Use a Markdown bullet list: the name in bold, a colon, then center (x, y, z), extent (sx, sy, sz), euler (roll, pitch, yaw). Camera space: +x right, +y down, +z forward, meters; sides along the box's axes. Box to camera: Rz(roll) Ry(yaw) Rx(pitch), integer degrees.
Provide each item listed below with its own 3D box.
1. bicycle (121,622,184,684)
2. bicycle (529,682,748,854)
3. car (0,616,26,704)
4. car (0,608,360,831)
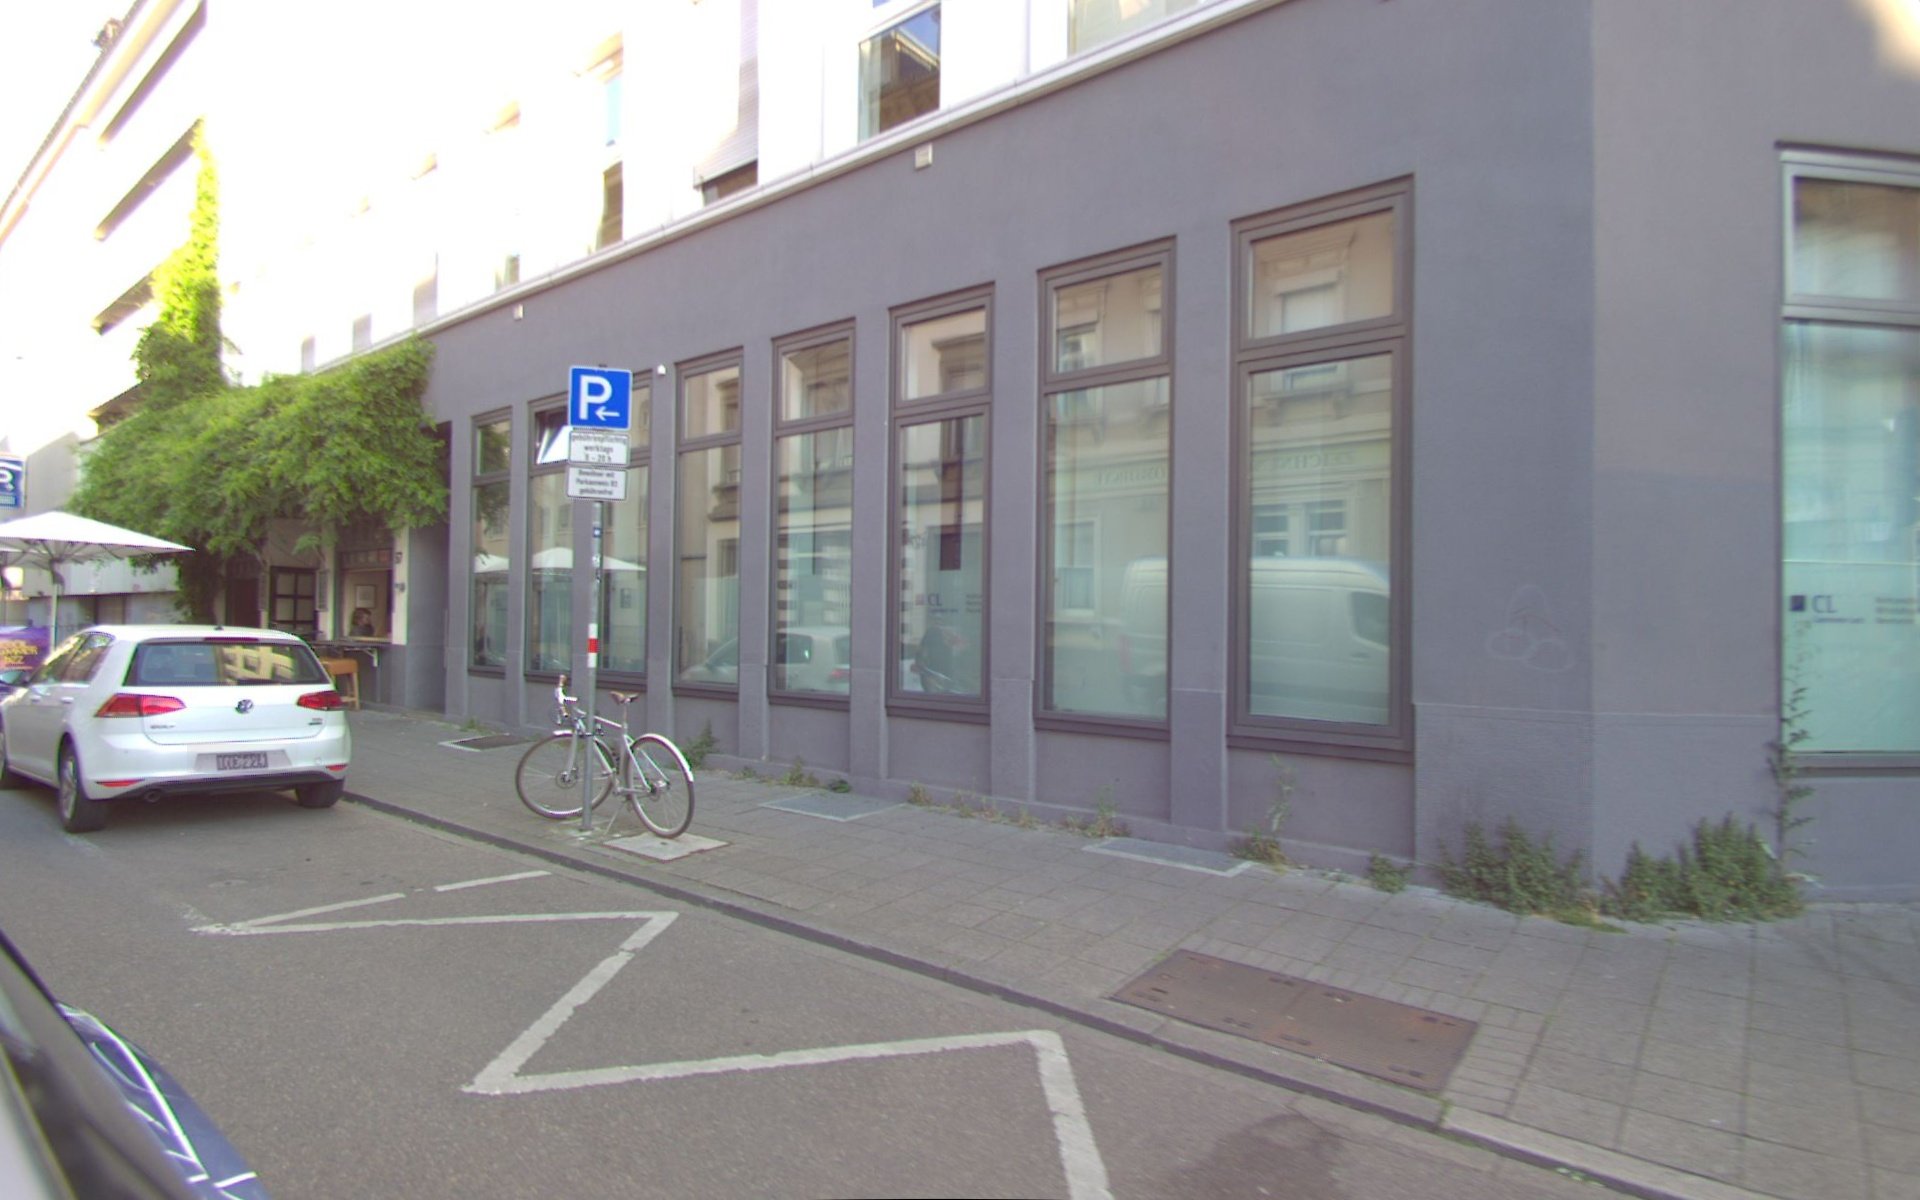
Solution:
- **bicycle**: center (-15.986, 1.018, 20.024), extent (1.793, 1.169, 0.636), euler (-1, -1, 40)
- **bicycle**: center (-2.150, 1.041, 6.663), extent (1.643, 0.912, 0.590), euler (-1, -2, 40)
- **car**: center (-19.476, 1.057, 19.089), extent (4.763, 1.580, 1.863), euler (-1, -4, 37)
- **car**: center (-6.668, 0.800, 8.373), extent (3.877, 1.424, 1.641), euler (0, -2, 39)
